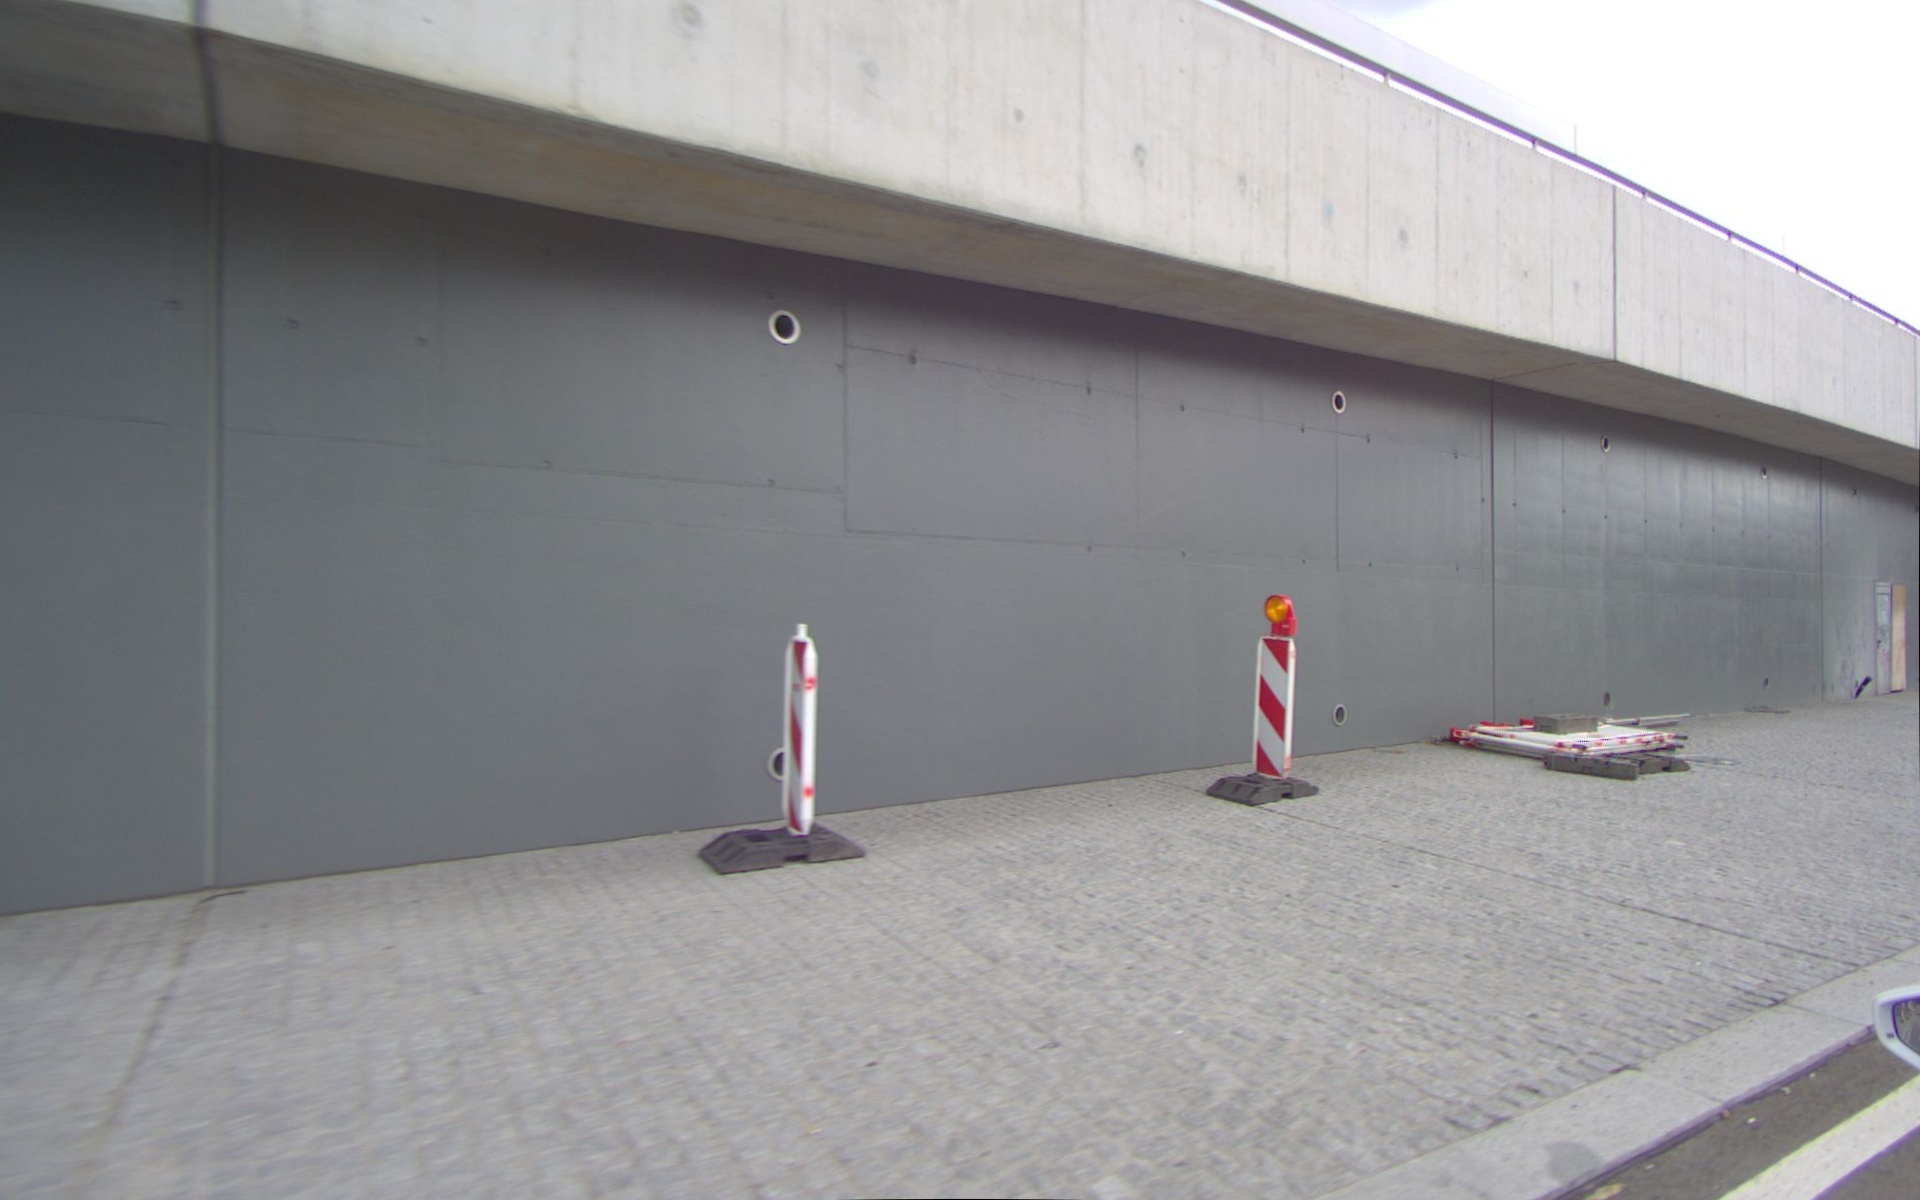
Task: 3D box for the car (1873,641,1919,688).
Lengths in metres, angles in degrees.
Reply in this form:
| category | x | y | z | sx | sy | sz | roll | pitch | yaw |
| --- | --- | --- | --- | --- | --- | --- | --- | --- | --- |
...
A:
| category | x | y | z | sx | sy | sz | roll | pitch | yaw |
| --- | --- | --- | --- | --- | --- | --- | --- | --- | --- |
| car | 32.208 | 2.120 | 33.381 | 1.824 | 1.462 | 4.834 | 0 | -2 | 31 |
